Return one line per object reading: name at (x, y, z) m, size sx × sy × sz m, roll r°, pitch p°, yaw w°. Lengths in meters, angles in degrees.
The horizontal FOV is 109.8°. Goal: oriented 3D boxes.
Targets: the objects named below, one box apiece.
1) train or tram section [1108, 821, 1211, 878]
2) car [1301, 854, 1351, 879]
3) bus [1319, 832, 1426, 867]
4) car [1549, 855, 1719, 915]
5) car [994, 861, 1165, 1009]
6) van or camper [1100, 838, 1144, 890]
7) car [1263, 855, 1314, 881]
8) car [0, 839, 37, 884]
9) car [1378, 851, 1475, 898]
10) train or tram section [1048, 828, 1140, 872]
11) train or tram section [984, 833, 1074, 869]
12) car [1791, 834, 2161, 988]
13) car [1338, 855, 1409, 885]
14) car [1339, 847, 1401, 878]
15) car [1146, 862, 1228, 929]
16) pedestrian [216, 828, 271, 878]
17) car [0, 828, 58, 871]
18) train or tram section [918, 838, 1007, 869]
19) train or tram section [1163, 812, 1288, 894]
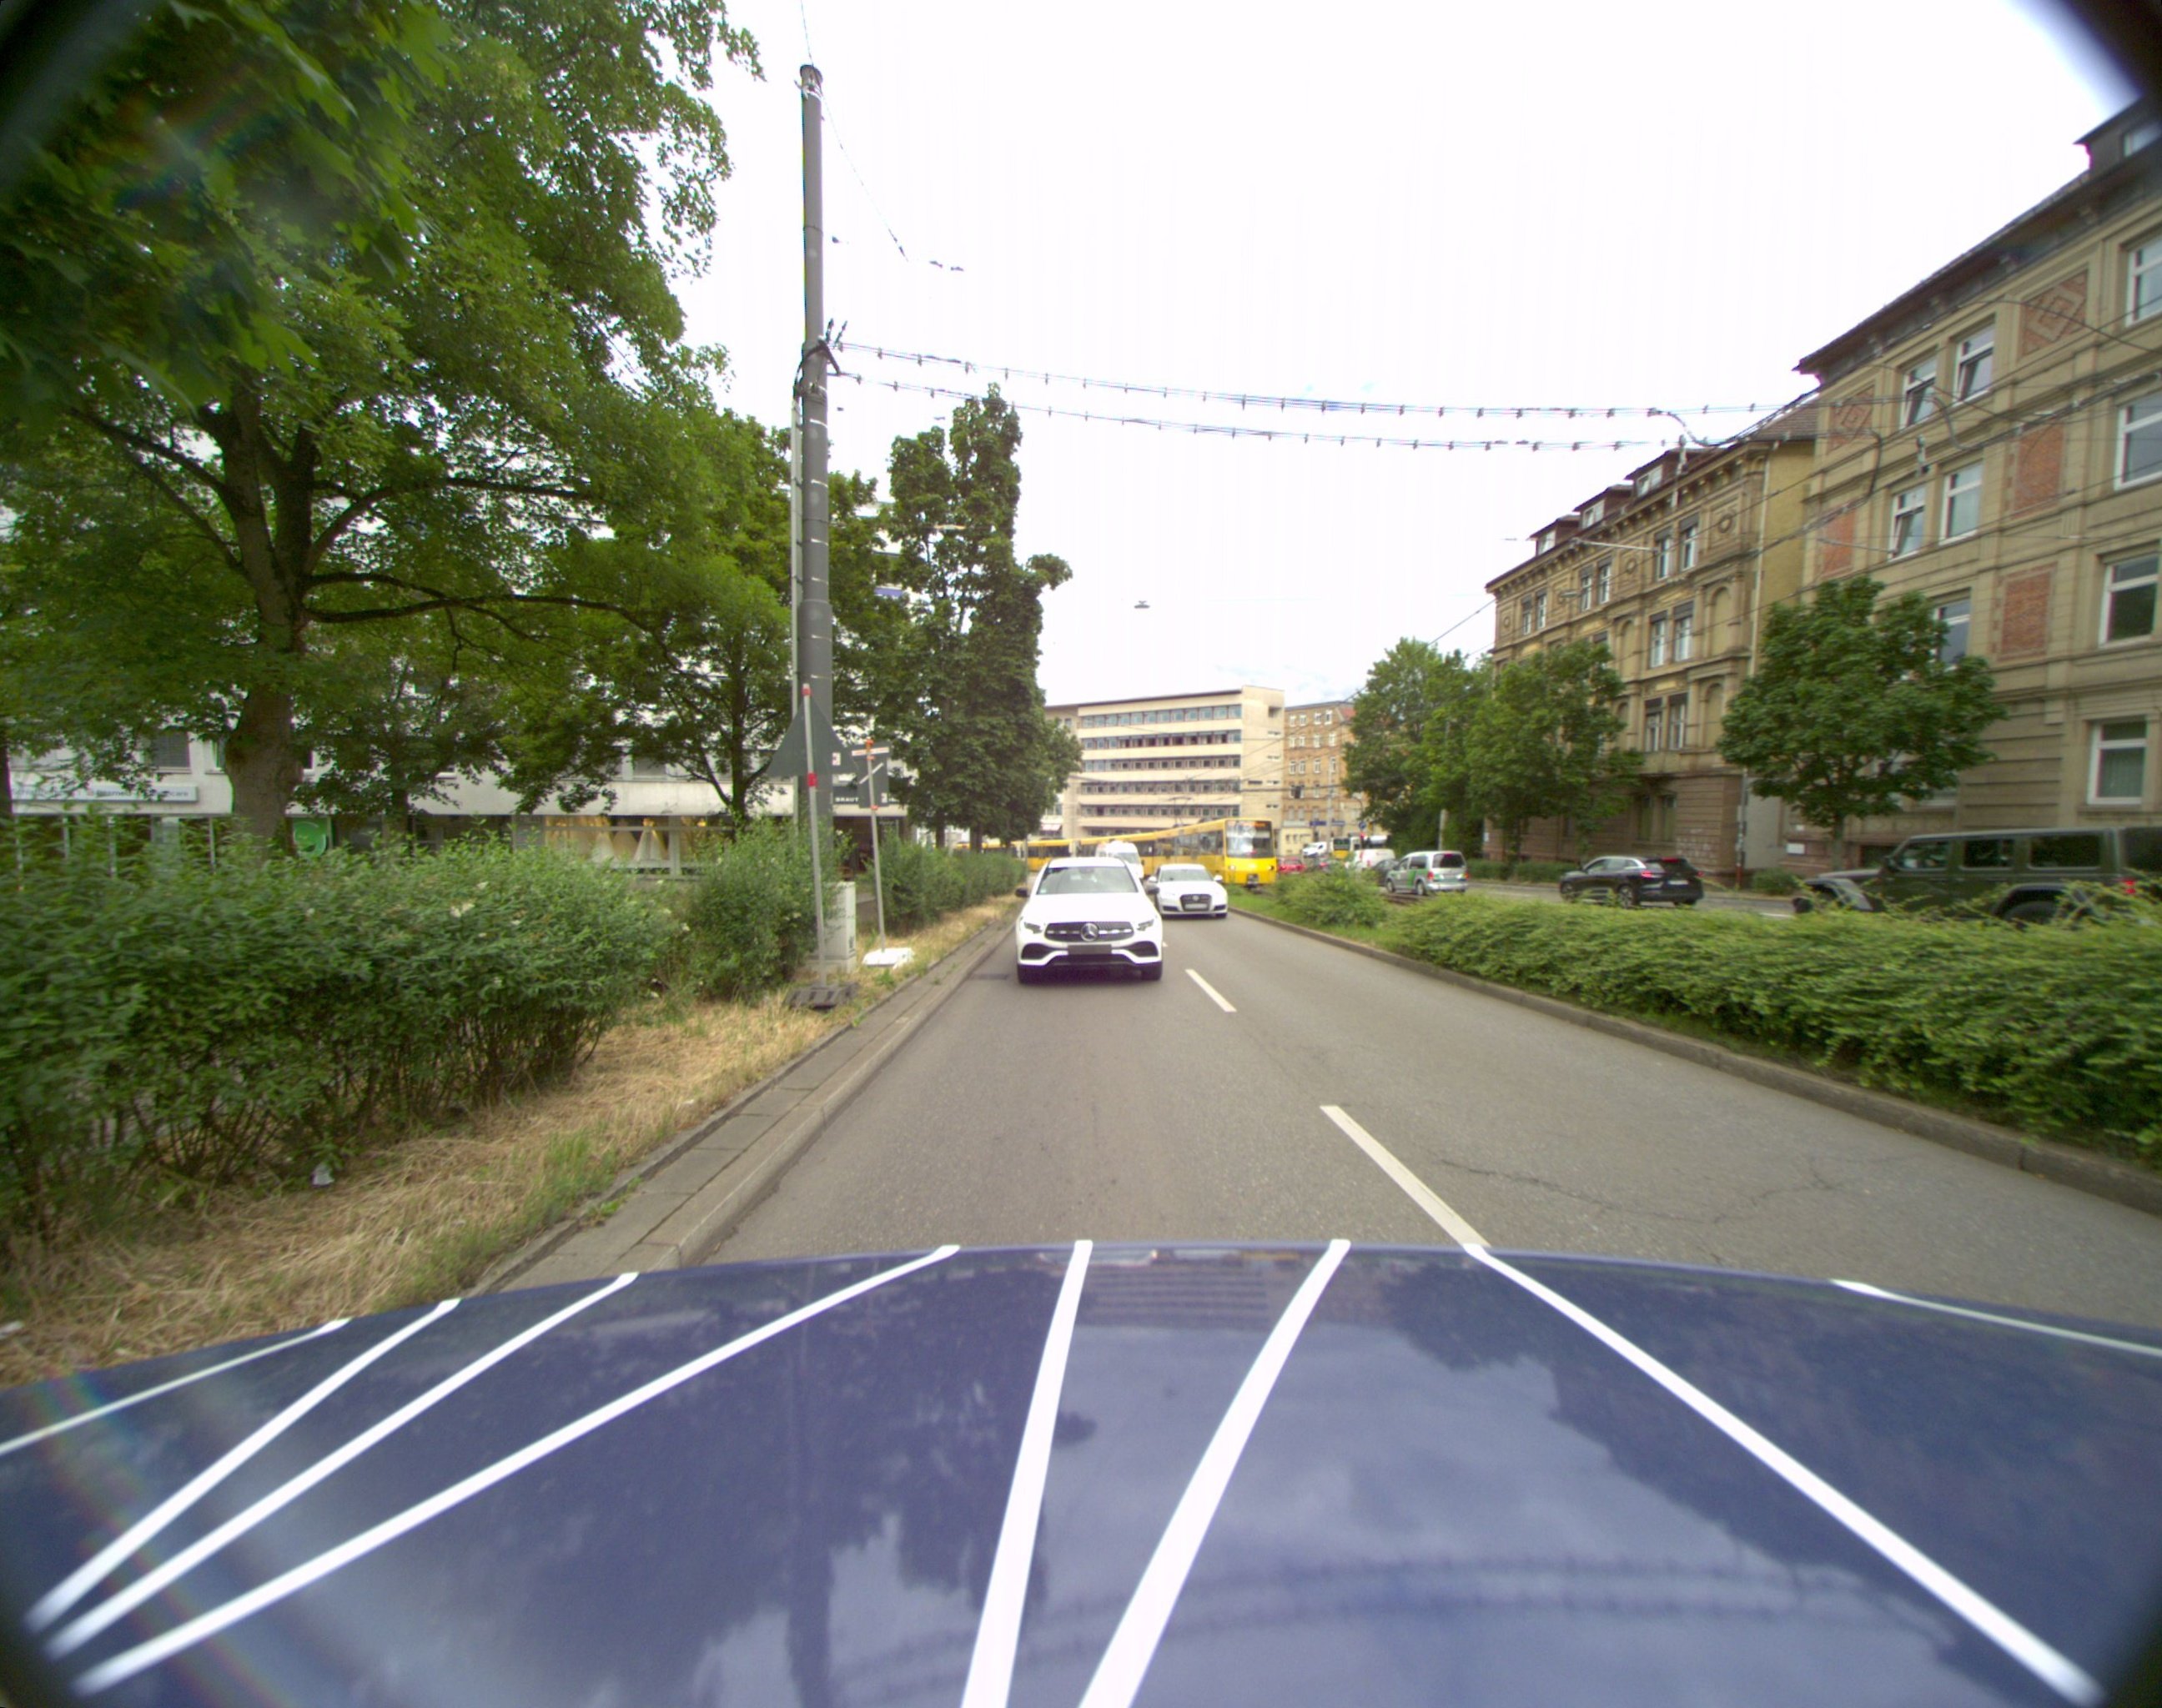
train or tram section at (5.336, -0.387, 56.211) m, size 2.892 × 3.643 × 14.210 m, roll -2°, pitch 1°, yaw -14°
car at (16.182, 0.813, 50.433) m, size 1.747 × 1.419 × 4.403 m, roll -2°, pitch 2°, yaw -3°
bus at (28.649, -0.480, 74.319) m, size 11.567 × 3.012 × 3.382 m, roll -2°, pitch 1°, yaw -32°
car at (16.542, 0.852, 23.076) m, size 1.870 × 1.546 × 4.436 m, roll -1°, pitch 1°, yaw -1°
car at (0.100, 0.972, 11.217) m, size 1.934 × 1.622 × 4.774 m, roll -2°, pitch 0°, yaw 3°
van or camper at (2.315, 0.486, 43.463) m, size 2.208 × 2.544 × 6.372 m, roll -3°, pitch 2°, yaw 3°
car at (13.804, 0.896, 50.840) m, size 1.999 × 1.510 × 4.404 m, roll -3°, pitch 1°, yaw -2°
car at (-41.406, 0.272, 27.819) m, size 3.393 × 1.639 × 1.595 m, roll 1°, pitch 0°, yaw -28°
car at (14.192, 0.785, 31.544) m, size 1.884 × 1.777 × 4.516 m, roll 1°, pitch 0°, yaw -1°
train or tram section at (0.827, -0.392, 70.508) m, size 2.894 × 3.643 × 14.201 m, roll -3°, pitch 2°, yaw -23°
train or tram section at (-6.028, -0.450, 83.258) m, size 2.936 × 3.539 × 14.190 m, roll -4°, pitch 3°, yaw -34°
car at (13.979, 0.690, 11.578) m, size 1.904 × 1.865 × 4.642 m, roll -1°, pitch 0°, yaw -1°
car at (15.612, 0.888, 40.884) m, size 1.824 × 1.441 × 4.947 m, roll -3°, pitch -2°, yaw 0°
car at (18.934, 0.519, 50.058) m, size 1.999 × 1.839 × 4.992 m, roll -4°, pitch 0°, yaw -1°
car at (2.889, 1.077, 21.545) m, size 1.896 × 1.467 × 4.531 m, roll -2°, pitch 2°, yaw 3°
pedestrian at (-28.825, -0.052, 26.166) m, size 0.880 × 1.691 × 0.876 m, roll 0°, pitch 1°, yaw -11°
car at (-43.152, -0.189, 29.580) m, size 3.631 × 1.663 × 1.595 m, roll 1°, pitch 0°, yaw -28°
train or tram section at (-14.891, -0.049, 94.149) m, size 14.189 × 3.423 × 2.895 m, roll -1°, pitch 4°, yaw 45°
train or tram section at (7.441, -0.169, 42.082) m, size 2.890 × 3.643 × 14.466 m, roll -3°, pitch 1°, yaw -5°
